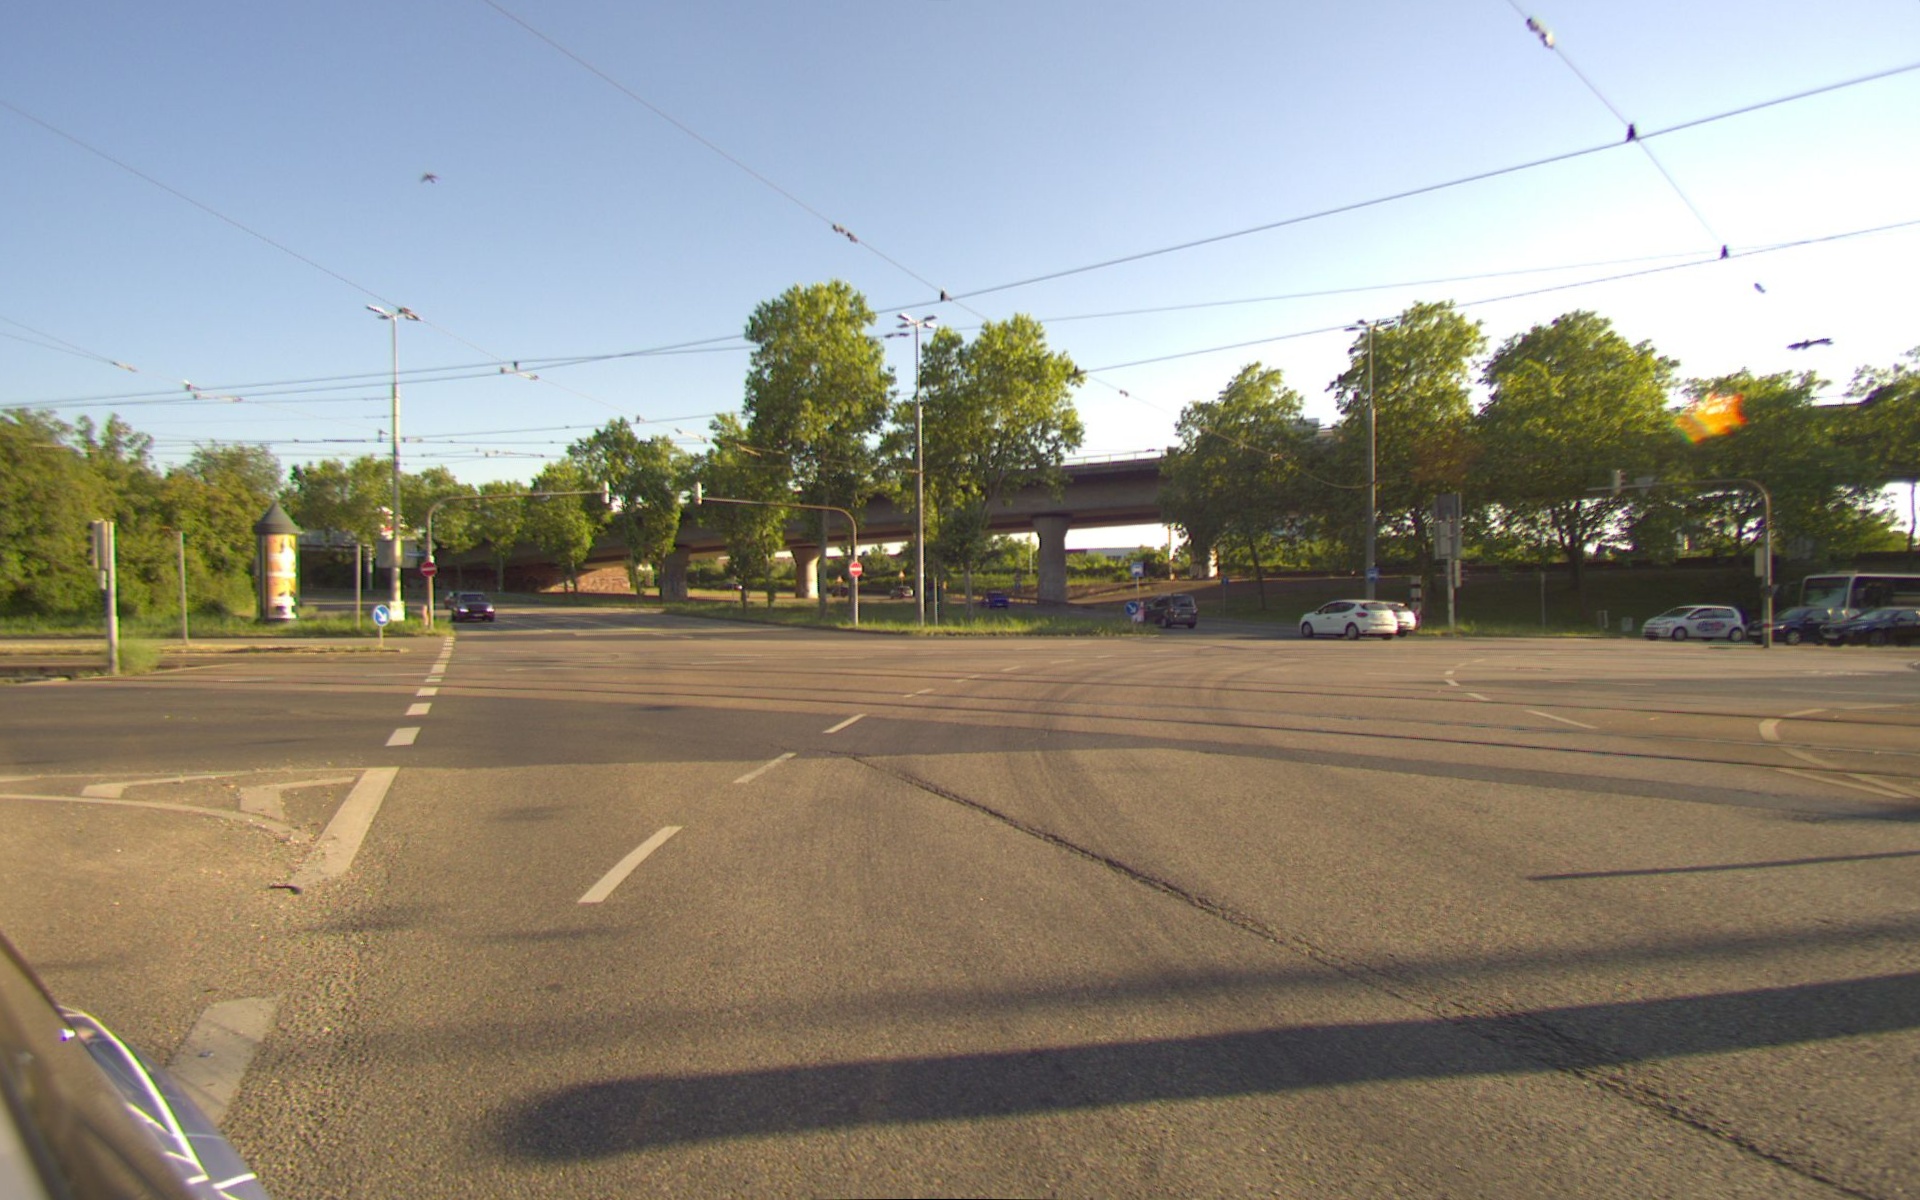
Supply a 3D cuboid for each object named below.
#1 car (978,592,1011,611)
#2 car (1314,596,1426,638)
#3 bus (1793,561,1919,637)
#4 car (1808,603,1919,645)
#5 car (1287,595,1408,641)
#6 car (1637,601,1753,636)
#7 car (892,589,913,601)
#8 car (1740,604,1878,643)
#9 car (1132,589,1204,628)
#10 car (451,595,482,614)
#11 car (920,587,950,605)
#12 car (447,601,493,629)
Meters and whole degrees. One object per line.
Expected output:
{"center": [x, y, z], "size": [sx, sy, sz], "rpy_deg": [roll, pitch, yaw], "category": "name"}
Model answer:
{"center": [2.929, 0.095, 86.002], "size": [1.967, 1.570, 3.944], "rpy_deg": [0, 0, -10], "category": "car"}
{"center": [17.105, 0.656, 42.454], "size": [1.825, 1.621, 4.385], "rpy_deg": [-1, 0, -22], "category": "car"}
{"center": [41.861, -0.087, 41.803], "size": [12.667, 2.976, 2.832], "rpy_deg": [0, 0, -1], "category": "bus"}
{"center": [31.914, 0.797, 34.834], "size": [4.034, 1.364, 1.718], "rpy_deg": [0, 0, -3], "category": "car"}
{"center": [14.704, 0.646, 38.656], "size": [1.825, 1.621, 4.322], "rpy_deg": [-1, 0, -22], "category": "car"}
{"center": [30.083, 0.727, 41.450], "size": [3.677, 1.364, 1.612], "rpy_deg": [0, 0, -5], "category": "car"}
{"center": [-7.016, -0.576, 123.342], "size": [1.668, 1.433, 3.745], "rpy_deg": [-1, 1, -17], "category": "car"}
{"center": [31.447, 0.867, 37.530], "size": [3.939, 1.364, 1.612], "rpy_deg": [0, 0, -5], "category": "car"}
{"center": [10.671, 0.404, 52.136], "size": [1.825, 1.881, 4.159], "rpy_deg": [-1, 0, -18], "category": "car"}
{"center": [-40.322, 0.359, 82.611], "size": [1.966, 1.497, 4.012], "rpy_deg": [-1, 0, -30], "category": "car"}
{"center": [-2.630, -0.434, 106.693], "size": [1.966, 1.920, 4.719], "rpy_deg": [0, 0, -16], "category": "car"}
{"center": [-28.700, 0.878, 59.242], "size": [1.966, 1.497, 4.011], "rpy_deg": [-1, 0, -32], "category": "car"}
